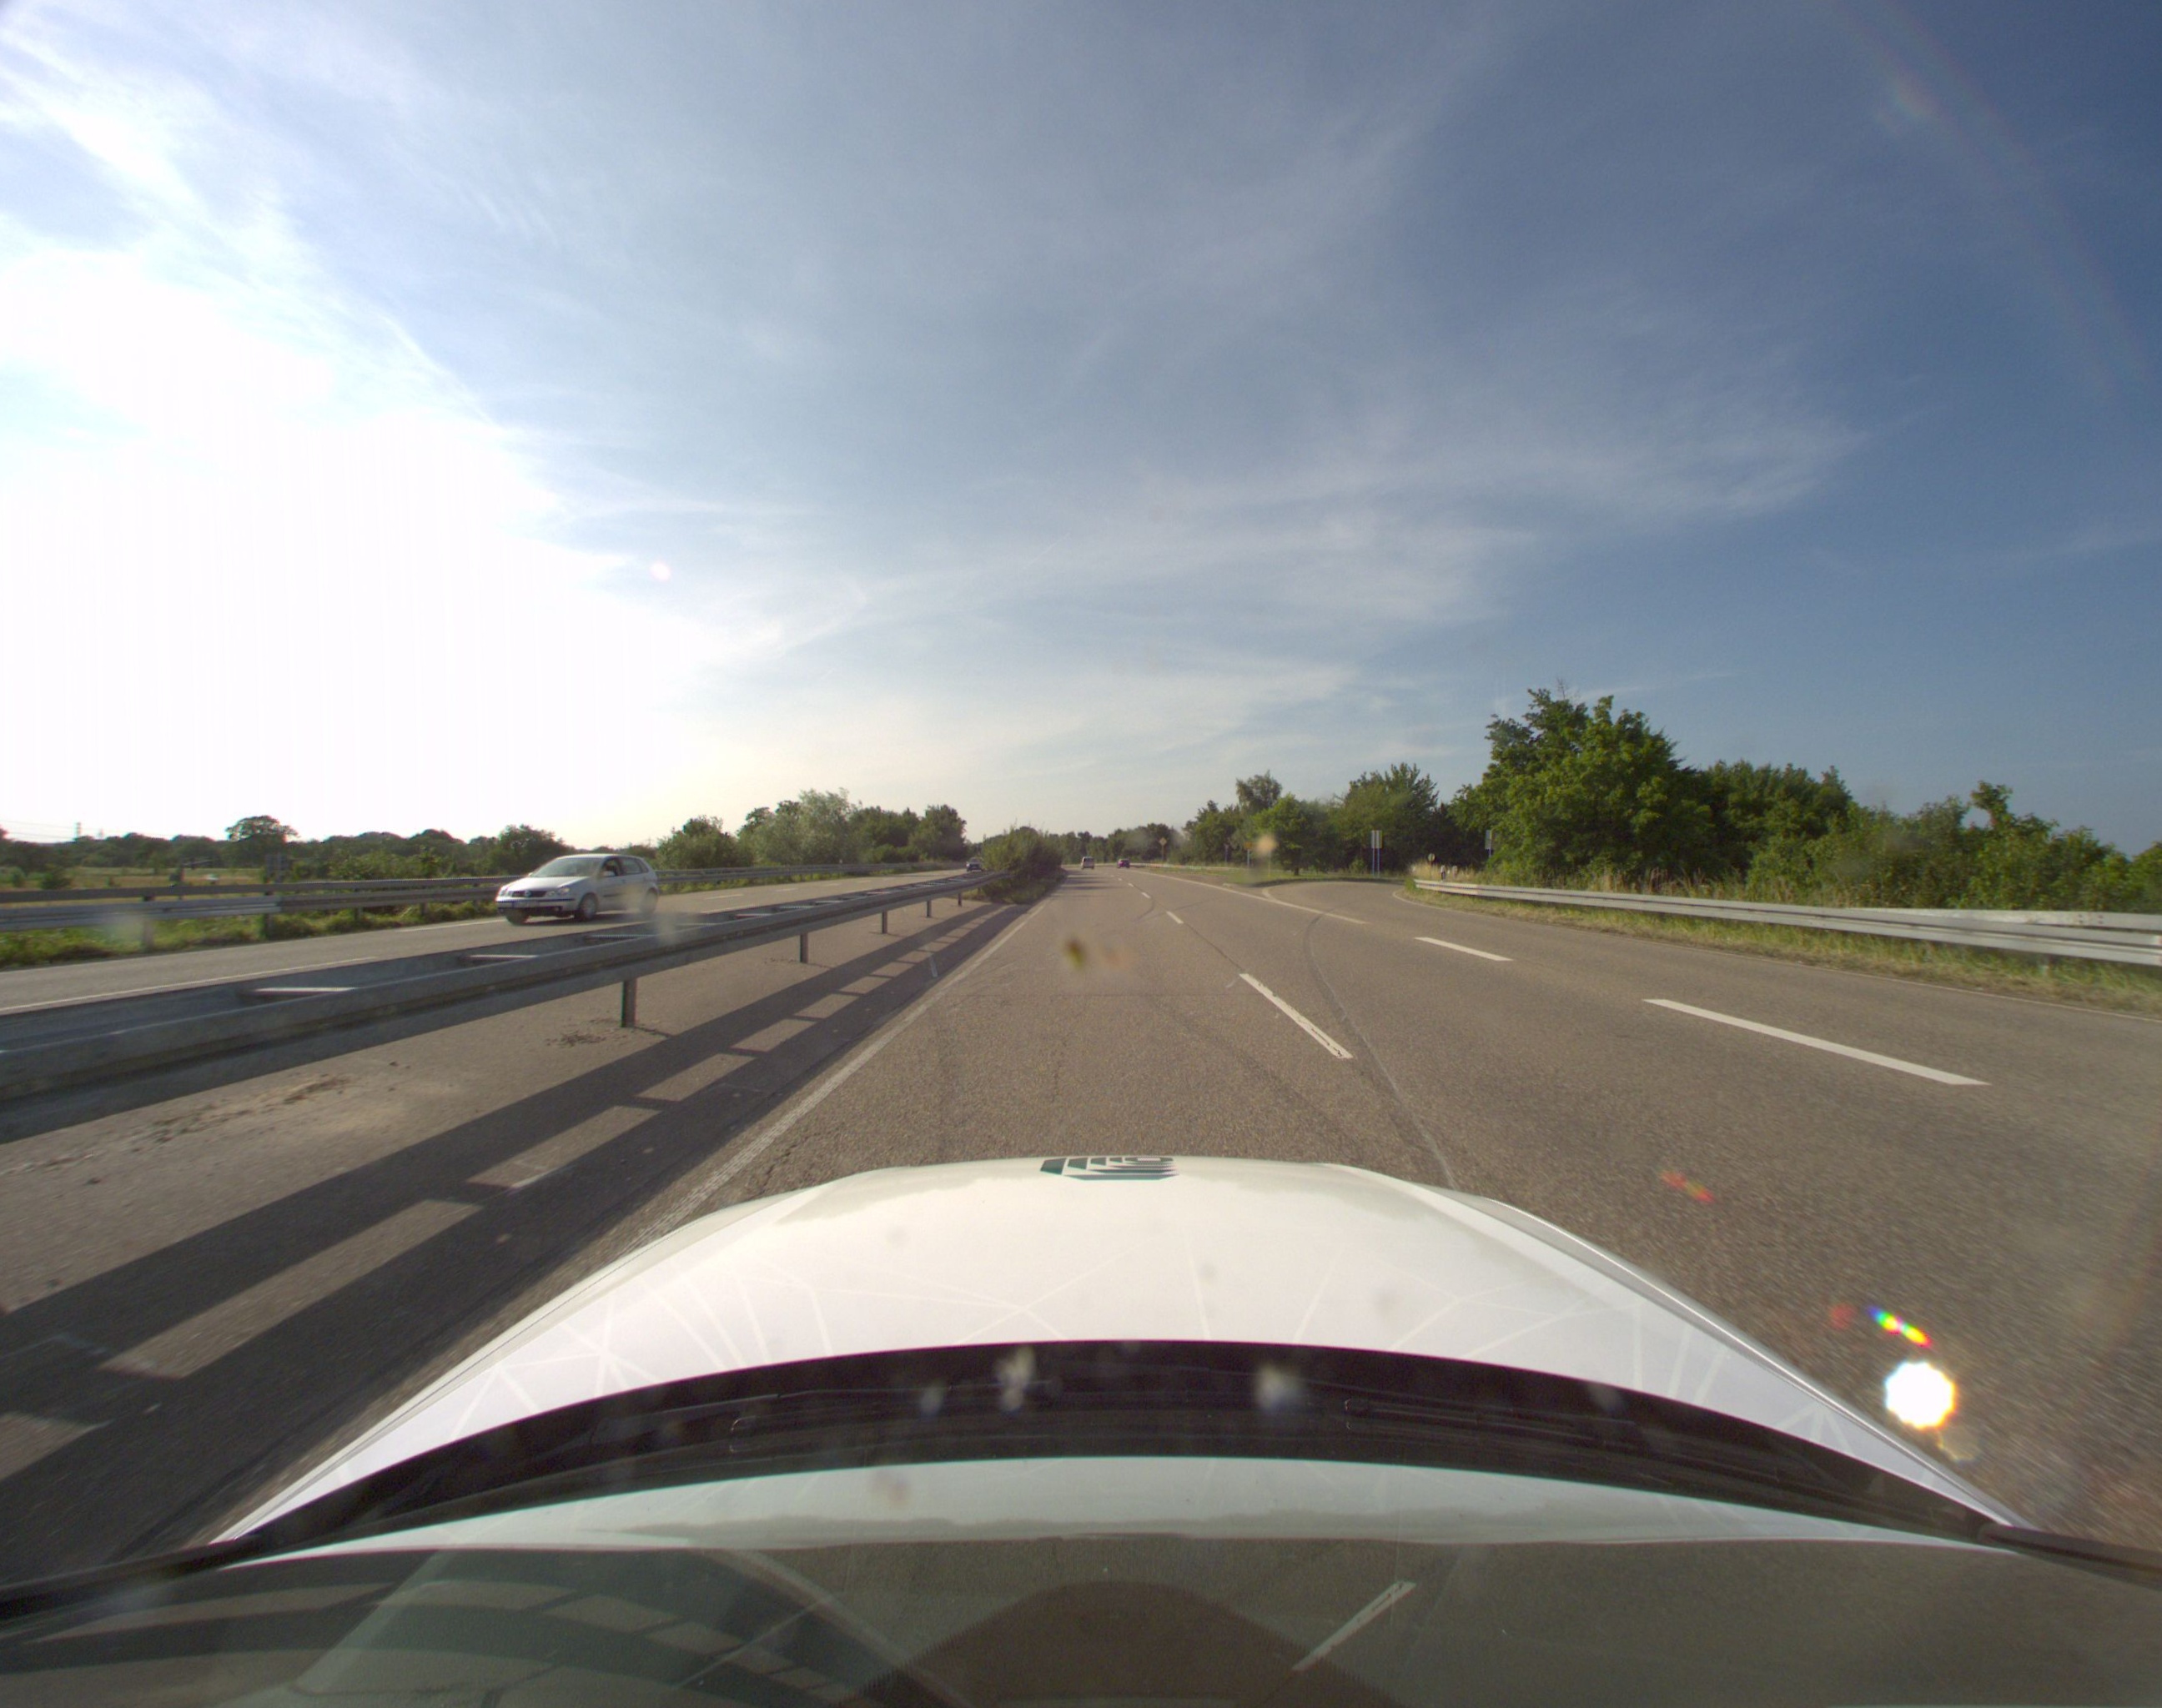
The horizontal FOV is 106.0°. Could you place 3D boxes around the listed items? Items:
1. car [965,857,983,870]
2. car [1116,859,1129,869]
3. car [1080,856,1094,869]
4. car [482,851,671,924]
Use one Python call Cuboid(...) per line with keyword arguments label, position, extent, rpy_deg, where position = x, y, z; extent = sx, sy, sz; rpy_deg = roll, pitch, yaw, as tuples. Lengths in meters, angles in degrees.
Cuboid(label="car", position=(-11.086, 0.958, 84.191), extent=(1.484, 1.298, 3.266), rpy_deg=(-1, -1, -1))
Cuboid(label="car", position=(6.477, 1.537, 128.172), extent=(1.773, 1.452, 3.998), rpy_deg=(-1, -2, -1))
Cuboid(label="car", position=(0.849, 1.225, 118.212), extent=(1.761, 1.882, 3.996), rpy_deg=(-1, -1, -2))
Cuboid(label="car", position=(-11.146, 0.684, 18.351), extent=(1.633, 1.420, 4.002), rpy_deg=(-1, 0, 2))
